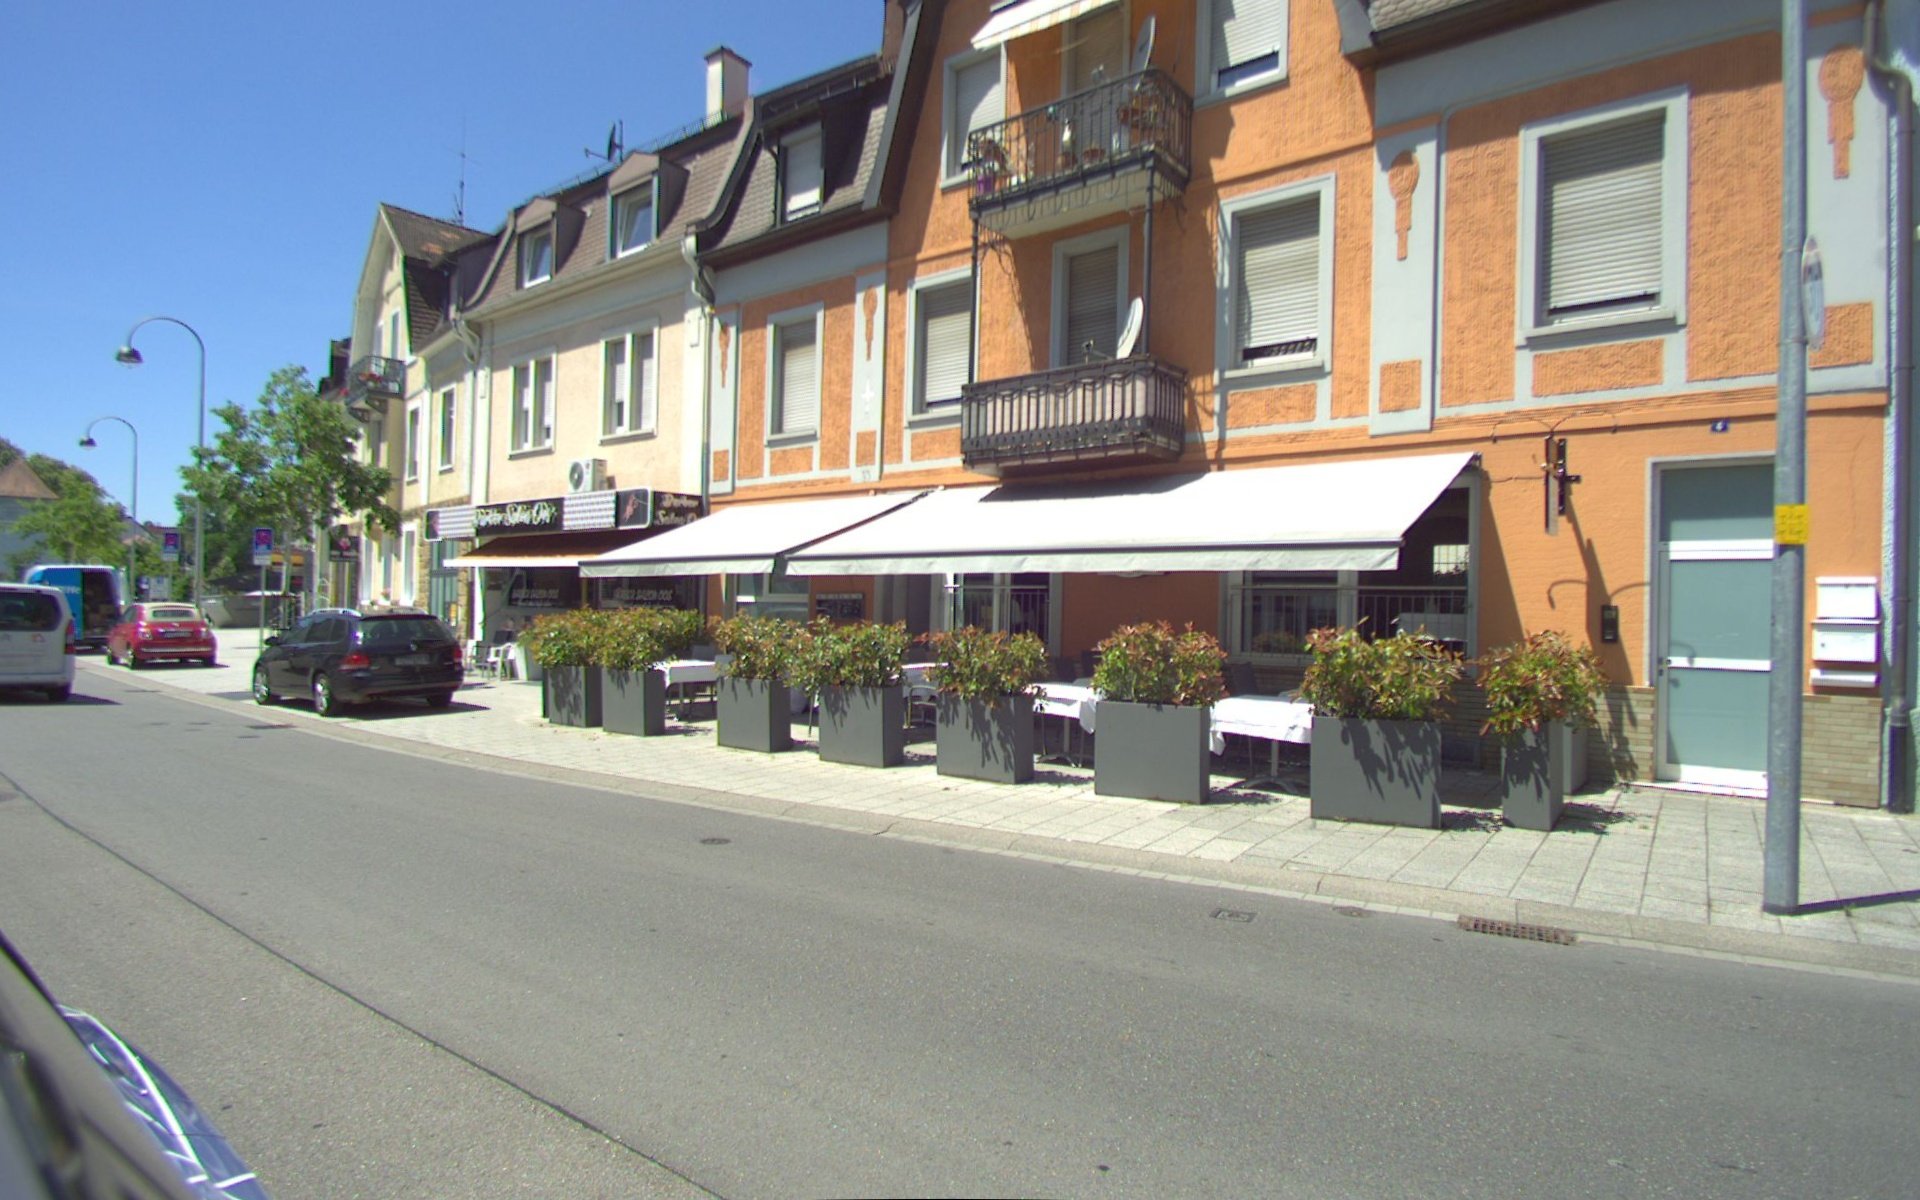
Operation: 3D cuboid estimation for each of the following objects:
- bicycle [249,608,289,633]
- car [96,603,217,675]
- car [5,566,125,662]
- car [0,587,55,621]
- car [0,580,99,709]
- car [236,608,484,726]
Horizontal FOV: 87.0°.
[{"bbox_3d":[-37.337,1.106,54.713,1.741,1.244,0.618,-2,0,-34],"label":"bicycle"},{"bbox_3d":[-19.137,0.885,24.054,3.512,1.532,1.544,1,0,40],"label":"car"},{"bbox_3d":[-26.016,0.368,29.343,5.503,2.517,2.069,0,0,43],"label":"car"},{"bbox_3d":[-80.018,0.337,85.568,4.788,2.757,1.856,3,-2,-32],"label":"car"},{"bbox_3d":[-15.488,0.644,15.870,4.406,1.836,1.976,0,-3,36],"label":"car"},{"bbox_3d":[-9.175,0.896,15.351,4.333,1.493,1.896,0,1,40],"label":"car"}]
